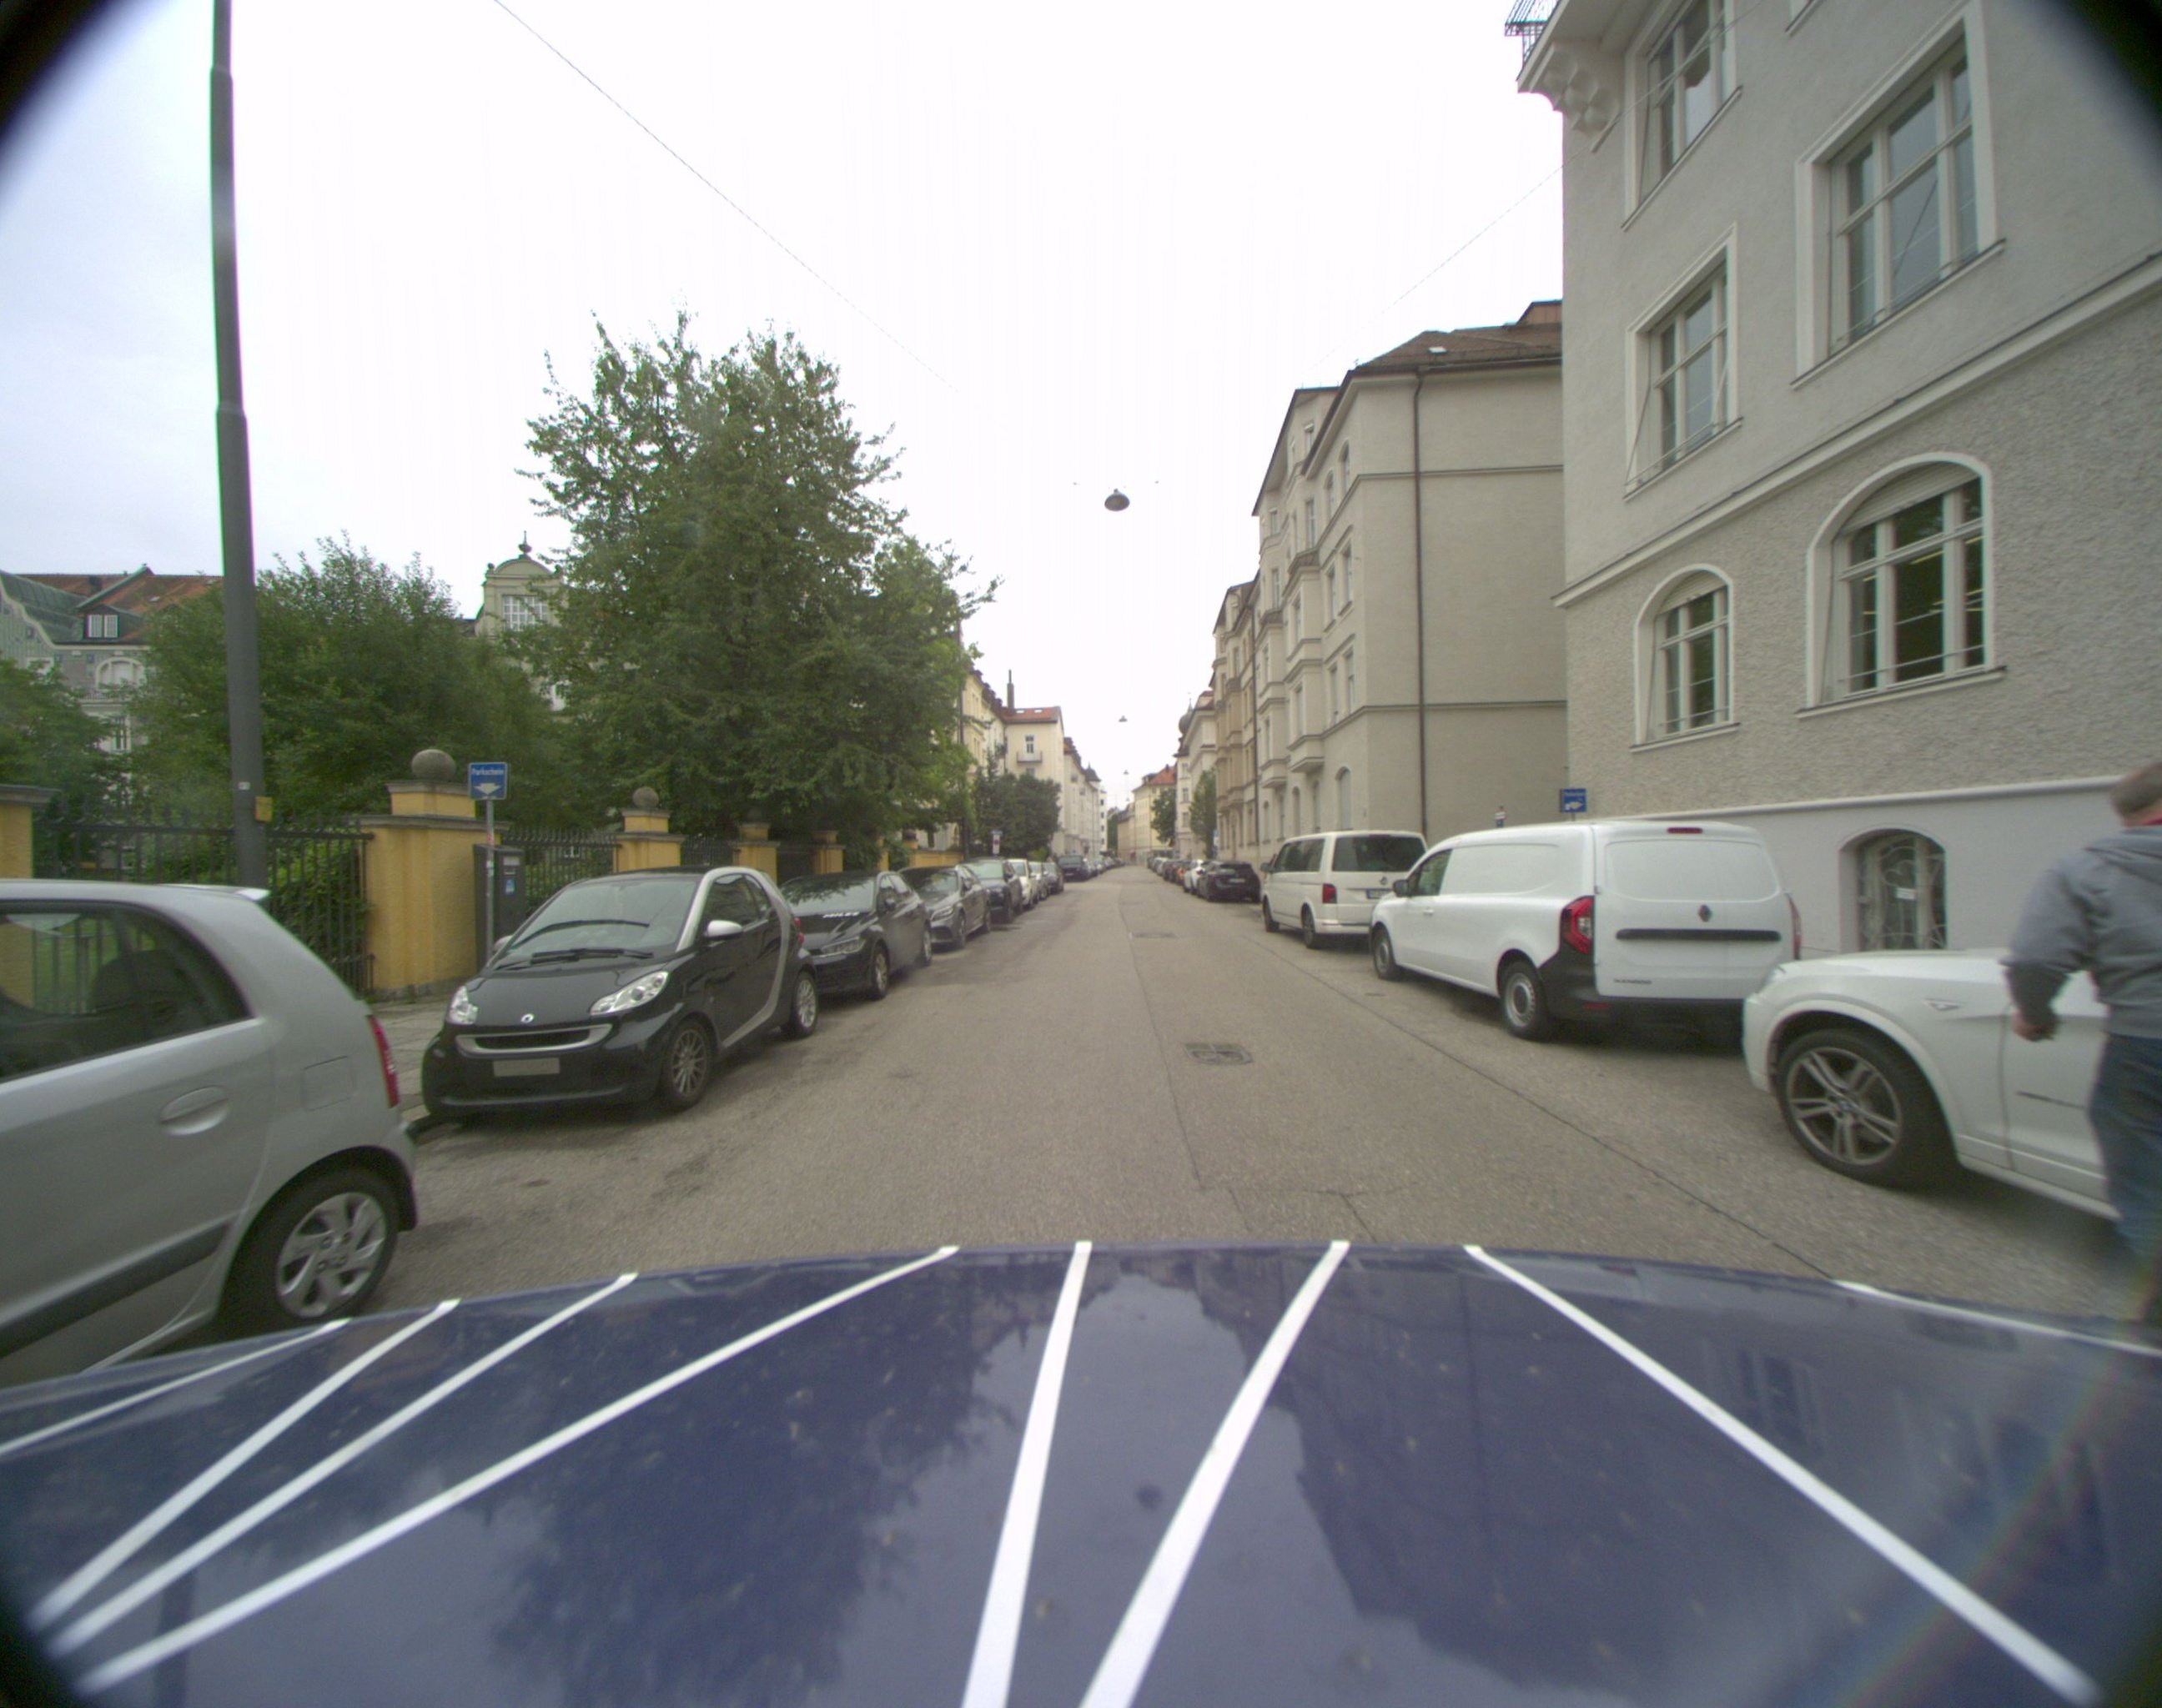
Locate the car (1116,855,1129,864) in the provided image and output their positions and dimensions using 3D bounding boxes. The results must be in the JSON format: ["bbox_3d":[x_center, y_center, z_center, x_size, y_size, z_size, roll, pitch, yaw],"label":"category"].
[{"bbox_3d":[8.255,0.997,149.628,1.997,1.585,4.302,-4,-1,10],"label":"car"}]

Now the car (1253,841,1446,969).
[{"bbox_3d":[4.616,0.767,13.944,1.860,1.927,4.957,0,0,1],"label":"car"}]

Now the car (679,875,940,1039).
[{"bbox_3d":[-3.028,1.063,9.447,1.696,1.406,4.036,-3,0,0],"label":"car"}]

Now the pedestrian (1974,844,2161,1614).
[{"bbox_3d":[3.008,0.848,1.880,0.874,1.745,0.966,-1,0,40],"label":"pedestrian"}]

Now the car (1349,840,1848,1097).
[{"bbox_3d":[4.467,0.793,7.784,1.751,1.778,5.037,0,0,1],"label":"car"}]

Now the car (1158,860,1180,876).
[{"bbox_3d":[7.857,1.226,67.938,1.627,1.421,3.690,0,0,1],"label":"car"}]

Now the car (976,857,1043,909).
[{"bbox_3d":[-2.310,0.910,25.675,1.717,1.561,4.320,-1,0,2],"label":"car"}]

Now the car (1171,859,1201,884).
[{"bbox_3d":[6.524,1.054,47.690,1.626,1.447,3.942,0,0,4],"label":"car"}]

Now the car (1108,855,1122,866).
[{"bbox_3d":[5.909,1.098,130.561,1.998,1.672,4.301,-4,-1,7],"label":"car"}]

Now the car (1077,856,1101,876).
[{"bbox_3d":[0.756,1.039,68.213,1.998,1.585,4.300,-4,-1,2],"label":"car"}]

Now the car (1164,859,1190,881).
[{"bbox_3d":[6.724,1.096,53.344,1.626,1.421,3.943,0,0,5],"label":"car"}]

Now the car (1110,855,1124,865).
[{"bbox_3d":[6.483,1.102,135.972,1.998,1.585,4.430,-4,-1,7],"label":"car"}]

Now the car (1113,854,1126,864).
[{"bbox_3d":[7.158,0.958,140.812,1.997,1.585,4.302,-4,-1,9],"label":"car"}]

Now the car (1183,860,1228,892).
[{"bbox_3d":[6.022,1.026,37.058,1.809,1.455,3.939,0,0,4],"label":"car"}]

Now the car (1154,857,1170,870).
[{"bbox_3d":[9.394,1.060,88.641,1.626,1.522,3.921,0,0,3],"label":"car"}]

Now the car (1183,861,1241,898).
[{"bbox_3d":[5.504,1.029,32.513,1.860,1.455,4.379,0,0,2],"label":"car"}]

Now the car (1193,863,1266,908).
[{"bbox_3d":[5.262,1.079,27.460,1.860,1.404,4.379,1,0,2],"label":"car"}]

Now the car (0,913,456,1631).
[{"bbox_3d":[-3.209,1.026,1.130,1.488,1.530,3.692,-3,0,-1],"label":"car"}]

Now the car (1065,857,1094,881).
[{"bbox_3d":[-0.098,1.126,58.115,1.998,1.585,3.856,-4,-1,2],"label":"car"}]

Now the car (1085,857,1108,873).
[{"bbox_3d":[1.635,1.155,80.397,1.998,1.585,4.301,-4,-1,5],"label":"car"}]

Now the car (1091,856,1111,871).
[{"bbox_3d":[2.417,1.129,91.248,1.998,1.585,4.301,-4,-1,5],"label":"car"}]

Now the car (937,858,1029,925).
[{"bbox_3d":[-2.507,0.908,20.571,1.717,1.561,4.692,-1,0,2],"label":"car"}]

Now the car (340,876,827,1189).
[{"bbox_3d":[-3.188,1.017,5.562,1.511,1.557,2.870,-3,0,3],"label":"car"}]

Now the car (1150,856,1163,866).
[{"bbox_3d":[10.914,0.998,109.771,1.626,1.522,3.921,0,0,3],"label":"car"}]

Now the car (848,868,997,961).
[{"bbox_3d":[-2.798,1.019,14.468,1.696,1.406,4.516,-1,0,2],"label":"car"}]

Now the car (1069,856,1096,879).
[{"bbox_3d":[0.175,1.110,63.280,1.998,1.642,4.449,-4,-1,2],"label":"car"}]

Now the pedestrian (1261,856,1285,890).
[{"bbox_3d":[9.111,0.903,36.115,0.876,1.599,1.052,-1,0,3],"label":"pedestrian"}]

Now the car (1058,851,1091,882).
[{"bbox_3d":[-0.389,0.870,53.107,1.998,1.949,4.434,-4,-1,2],"label":"car"}]

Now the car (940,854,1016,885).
[{"bbox_3d":[-6.600,0.994,48.856,4.677,1.860,1.743,-1,-2,-2],"label":"car"}]

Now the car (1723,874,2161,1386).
[{"bbox_3d":[4.321,0.903,1.833,1.751,1.593,4.496,0,0,0],"label":"car"}]

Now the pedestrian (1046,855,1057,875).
[{"bbox_3d":[-2.516,0.959,64.811,0.876,1.680,1.052,-1,0,3],"label":"pedestrian"}]

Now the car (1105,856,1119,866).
[{"bbox_3d":[5.126,1.138,125.465,1.998,1.585,4.301,-4,-1,5],"label":"car"}]

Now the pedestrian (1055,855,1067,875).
[{"bbox_3d":[-1.721,0.935,64.780,0.876,1.745,1.052,-1,0,3],"label":"pedestrian"}]

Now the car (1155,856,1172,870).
[{"bbox_3d":[8.988,0.981,83.211,1.626,1.522,3.690,0,0,3],"label":"car"}]

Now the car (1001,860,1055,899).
[{"bbox_3d":[-2.056,0.973,30.582,1.717,1.445,4.184,-1,0,2],"label":"car"}]

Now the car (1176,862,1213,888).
[{"bbox_3d":[6.342,1.160,42.766,1.809,1.355,3.731,0,0,4],"label":"car"}]

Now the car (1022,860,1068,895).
[{"bbox_3d":[-1.605,1.043,35.318,1.717,1.445,4.956,-1,0,2],"label":"car"}]
